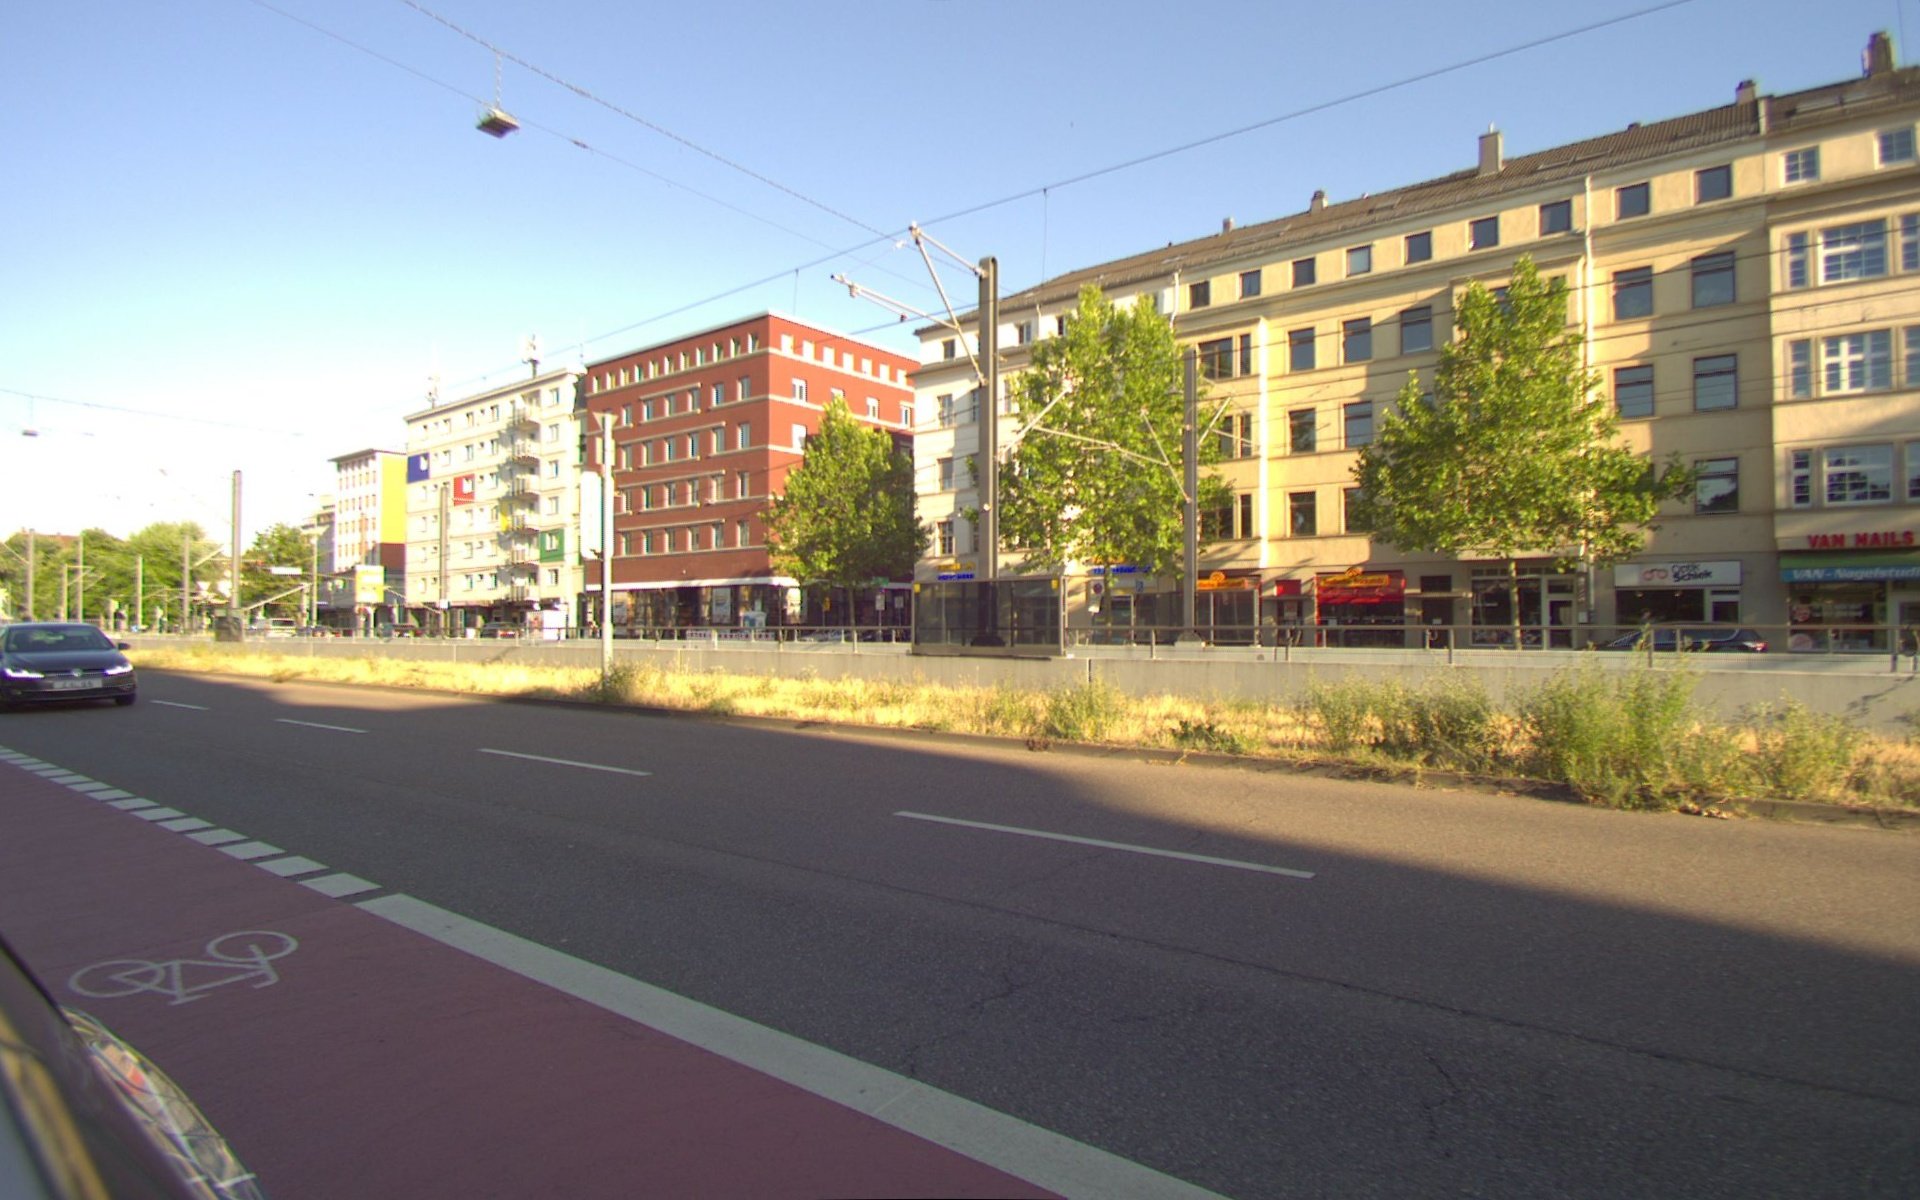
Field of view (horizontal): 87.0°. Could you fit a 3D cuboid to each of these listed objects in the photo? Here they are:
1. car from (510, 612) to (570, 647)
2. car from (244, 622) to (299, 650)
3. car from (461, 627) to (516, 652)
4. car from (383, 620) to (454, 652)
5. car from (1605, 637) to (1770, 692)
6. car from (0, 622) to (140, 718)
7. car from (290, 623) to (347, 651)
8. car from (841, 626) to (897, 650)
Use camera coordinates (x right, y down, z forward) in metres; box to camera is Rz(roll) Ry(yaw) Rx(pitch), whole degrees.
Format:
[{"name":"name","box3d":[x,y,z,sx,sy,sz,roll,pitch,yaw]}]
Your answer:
[{"name":"car","box3d":[-27.220,1.921,65.494,4.574,2.150,1.930,-2,-3,44]},{"name":"car","box3d":[-51.312,2.671,75.391,4.768,2.029,1.975,-1,-2,38]},{"name":"car","box3d":[-35.265,2.932,75.650,4.738,1.811,1.973,-2,-2,40]},{"name":"car","box3d":[-31.658,2.097,59.100,4.976,1.833,1.973,-2,-2,41]},{"name":"car","box3d":[20.500,1.764,28.585,3.707,1.342,1.440,-1,1,40]},{"name":"car","box3d":[-15.908,1.156,17.546,4.239,1.437,1.748,-2,-1,38]},{"name":"car","box3d":[-44.261,2.546,69.792,4.891,1.811,1.973,-2,-2,40]},{"name":"car","box3d":[-5.860,2.450,65.520,1.640,1.506,3.539,-2,-2,39]}]
